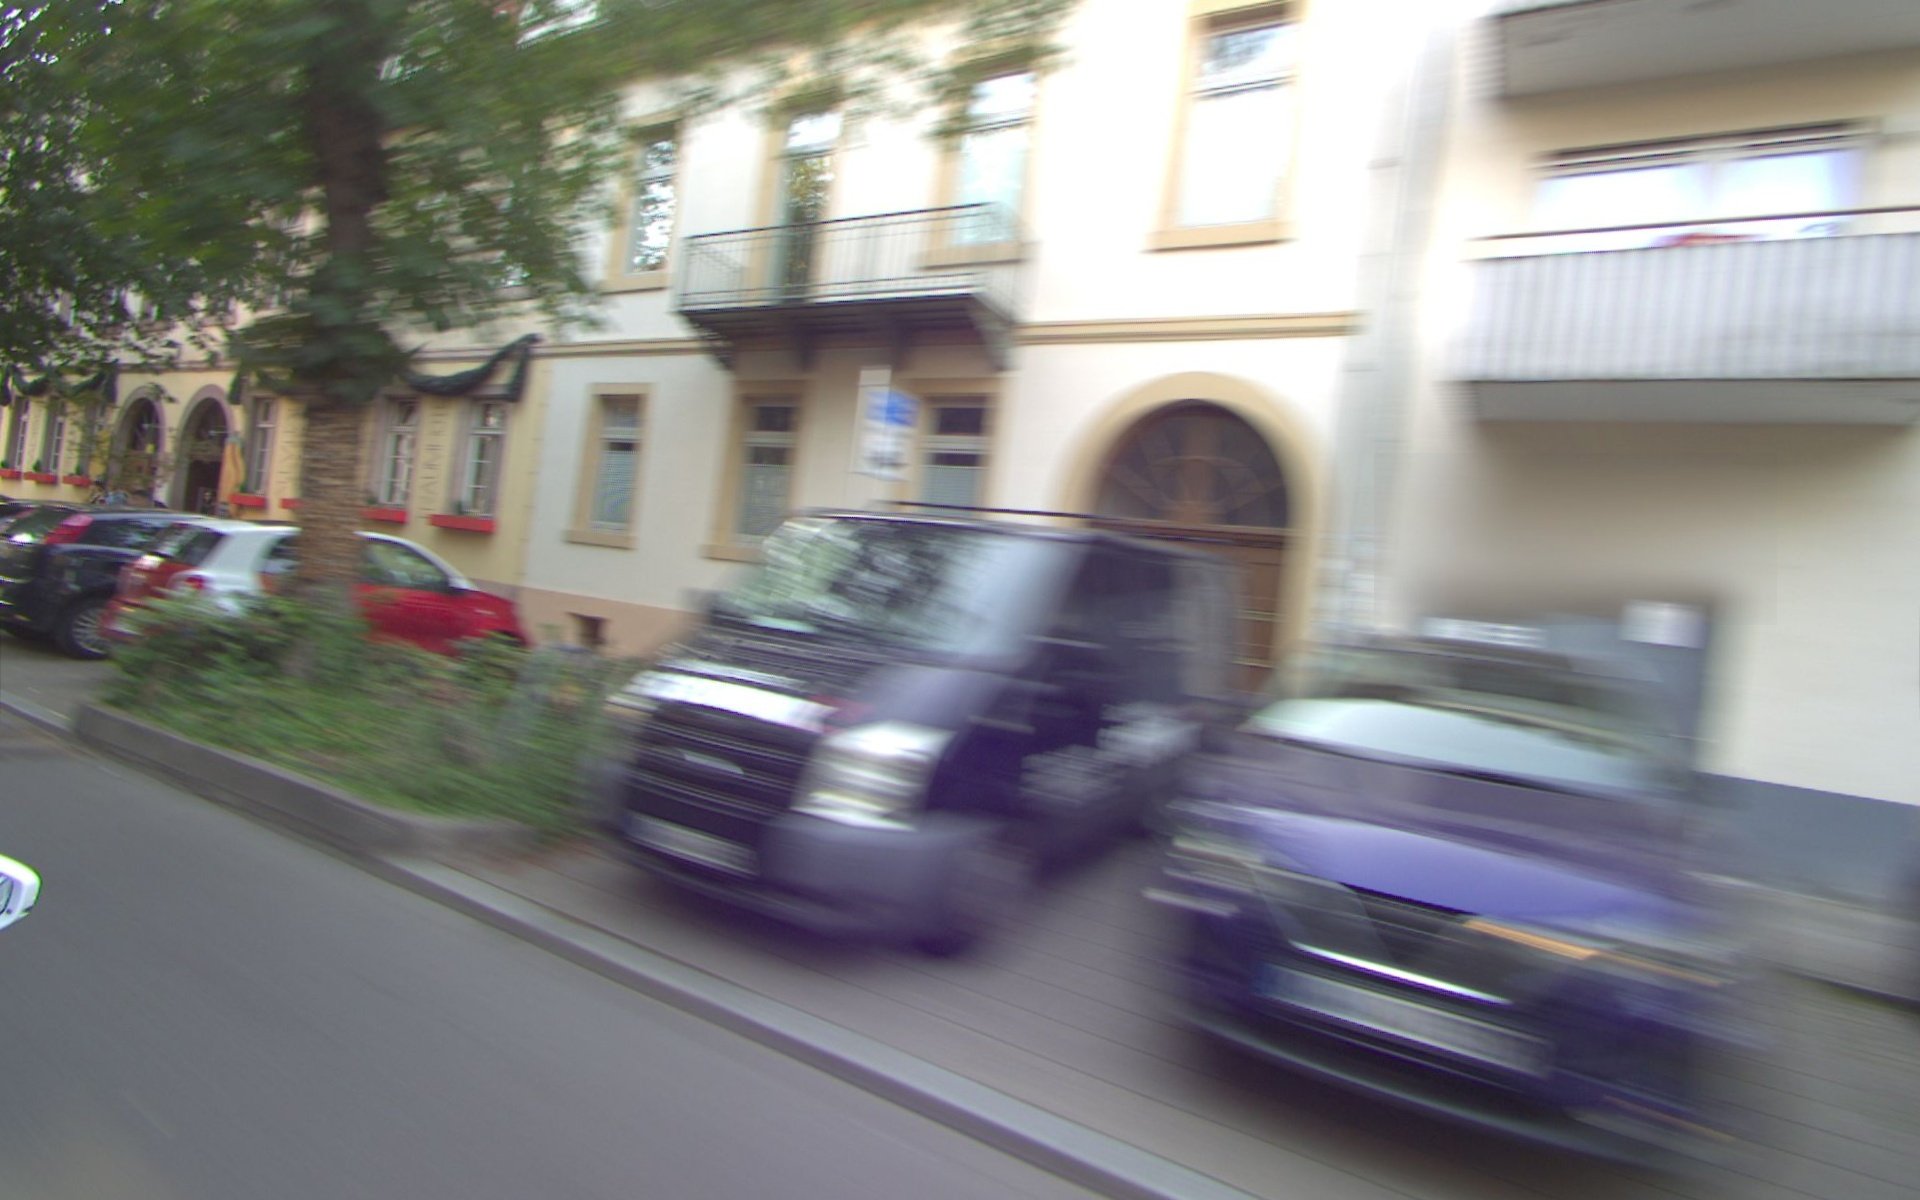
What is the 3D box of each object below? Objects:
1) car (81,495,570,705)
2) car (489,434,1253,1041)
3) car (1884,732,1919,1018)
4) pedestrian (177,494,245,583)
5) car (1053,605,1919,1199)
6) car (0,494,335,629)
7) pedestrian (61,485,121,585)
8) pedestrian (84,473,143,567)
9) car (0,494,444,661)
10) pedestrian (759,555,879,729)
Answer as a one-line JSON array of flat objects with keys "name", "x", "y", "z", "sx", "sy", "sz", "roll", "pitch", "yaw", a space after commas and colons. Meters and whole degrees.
[{"name": "car", "x": -6.037, "y": 0.018, "z": 9.984, "sx": 1.685, "sy": 1.599, "sz": 3.681, "roll": 7, "pitch": 2, "yaw": 31}, {"name": "car", "x": 0.033, "y": 0.465, "z": 5.932, "sx": 2.003, "sy": 2.038, "sz": 4.692, "roll": 7, "pitch": 2, "yaw": 30}, {"name": "car", "x": 4.894, "y": 1.312, "z": 3.233, "sx": 1.820, "sy": 1.599, "sz": 3.968, "roll": 7, "pitch": 2, "yaw": 30}, {"name": "pedestrian", "x": -15.875, "y": -1.286, "z": 21.333, "sx": 0.671, "sy": 1.761, "sz": 0.779, "roll": 8, "pitch": 2, "yaw": 15}, {"name": "car", "x": 2.220, "y": 0.971, "z": 4.542, "sx": 1.936, "sy": 1.599, "sz": 4.159, "roll": 7, "pitch": 2, "yaw": 29}, {"name": "car", "x": -10.476, "y": -0.462, "z": 12.325, "sx": 1.853, "sy": 1.412, "sz": 4.404, "roll": 7, "pitch": 2, "yaw": 29}, {"name": "pedestrian", "x": -16.417, "y": -1.231, "z": 19.014, "sx": 0.708, "sy": 1.761, "sz": 0.739, "roll": 6, "pitch": 2, "yaw": -39}, {"name": "pedestrian", "x": -16.754, "y": -1.577, "z": 19.902, "sx": 0.613, "sy": 1.761, "sz": 0.615, "roll": 8, "pitch": 2, "yaw": 31}, {"name": "car", "x": -8.266, "y": -0.209, "z": 11.258, "sx": 1.894, "sy": 1.457, "sz": 3.990, "roll": 7, "pitch": 2, "yaw": 29}, {"name": "pedestrian", "x": -1.404, "y": 0.425, "z": 10.078, "sx": 0.724, "sy": 1.617, "sz": 0.670, "roll": 7, "pitch": -1, "yaw": 31}]
